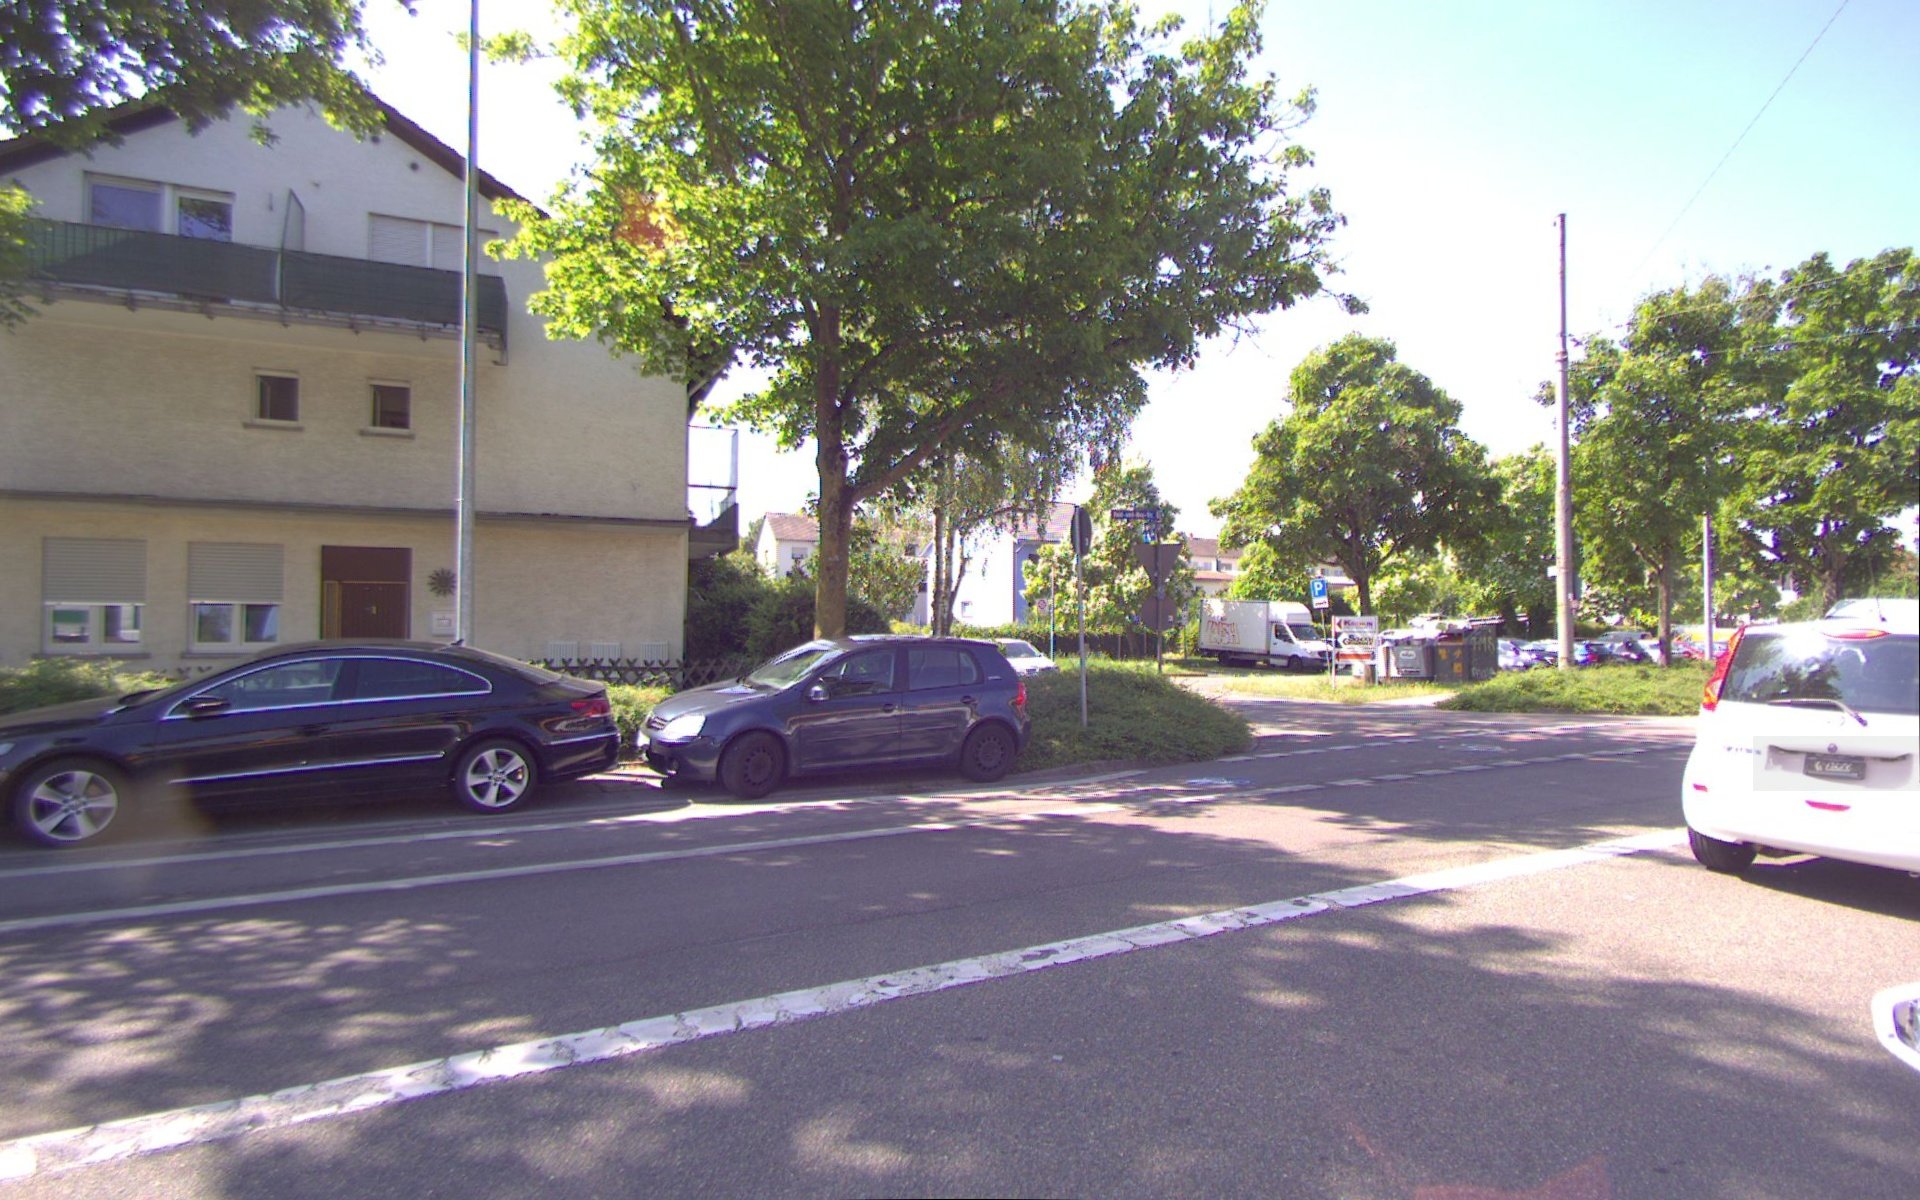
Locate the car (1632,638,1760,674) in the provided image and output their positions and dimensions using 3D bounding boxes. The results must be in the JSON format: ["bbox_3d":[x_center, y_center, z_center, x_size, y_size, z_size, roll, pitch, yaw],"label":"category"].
[{"bbox_3d":[30.743,2.351,42.080,1.712,1.434,3.964,2,-4,-33],"label":"car"}]

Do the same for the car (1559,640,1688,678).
[{"bbox_3d":[26.378,2.342,40.055,1.712,1.434,3.964,2,-4,-33],"label":"car"}]

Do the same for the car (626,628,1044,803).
[{"bbox_3d":[-1.272,1.071,10.482,3.988,1.462,1.718,1,0,-28],"label":"car"}]

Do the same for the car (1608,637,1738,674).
[{"bbox_3d":[28.883,2.262,40.815,1.712,1.434,3.964,2,-4,-33],"label":"car"}]

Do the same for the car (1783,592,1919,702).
[{"bbox_3d":[23.795,1.154,25.773,5.745,2.550,2.114,1,0,-29],"label":"car"}]

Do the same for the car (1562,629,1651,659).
[{"bbox_3d":[44.522,3.013,69.292,2.043,1.811,4.762,2,0,-34],"label":"car"}]

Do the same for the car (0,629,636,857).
[{"bbox_3d":[-5.247,1.007,8.366,4.568,1.434,1.854,1,0,-31],"label":"car"}]

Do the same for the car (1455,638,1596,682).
[{"bbox_3d":[19.697,2.088,35.120,1.712,1.434,3.964,2,-4,-33],"label":"car"}]

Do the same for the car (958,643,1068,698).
[{"bbox_3d":[1.412,1.957,28.439,1.704,1.434,3.983,1,-3,-20],"label":"car"}]

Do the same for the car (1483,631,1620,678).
[{"bbox_3d":[21.416,1.985,36.505,1.712,1.631,3.964,2,-4,-33],"label":"car"}]

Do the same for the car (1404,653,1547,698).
[{"bbox_3d":[17.324,2.502,33.897,1.712,1.434,3.964,2,-4,-33],"label":"car"}]

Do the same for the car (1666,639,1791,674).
[{"bbox_3d":[33.165,2.464,43.450,1.712,1.434,3.964,2,-4,-33],"label":"car"}]

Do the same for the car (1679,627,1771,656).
[{"bbox_3d":[54.429,2.932,71.539,2.043,1.811,4.762,2,0,-34],"label":"car"}]

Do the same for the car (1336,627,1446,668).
[{"bbox_3d":[21.682,2.340,50.697,2.043,1.811,4.762,2,0,-34],"label":"car"}]

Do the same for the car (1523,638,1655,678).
[{"bbox_3d":[24.173,2.227,38.712,1.712,1.434,3.964,2,-4,-33],"label":"car"}]

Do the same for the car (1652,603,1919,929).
[{"bbox_3d":[6.408,0.843,6.265,4.491,1.568,1.655,1,-1,-29],"label":"car"}]

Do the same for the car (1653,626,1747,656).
[{"bbox_3d":[50.565,2.800,68.722,2.043,1.811,4.762,2,0,-34],"label":"car"}]

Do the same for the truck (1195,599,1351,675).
[{"bbox_3d":[14.419,1.614,46.837,2.646,3.151,6.967,1,0,-30],"label":"truck"}]
